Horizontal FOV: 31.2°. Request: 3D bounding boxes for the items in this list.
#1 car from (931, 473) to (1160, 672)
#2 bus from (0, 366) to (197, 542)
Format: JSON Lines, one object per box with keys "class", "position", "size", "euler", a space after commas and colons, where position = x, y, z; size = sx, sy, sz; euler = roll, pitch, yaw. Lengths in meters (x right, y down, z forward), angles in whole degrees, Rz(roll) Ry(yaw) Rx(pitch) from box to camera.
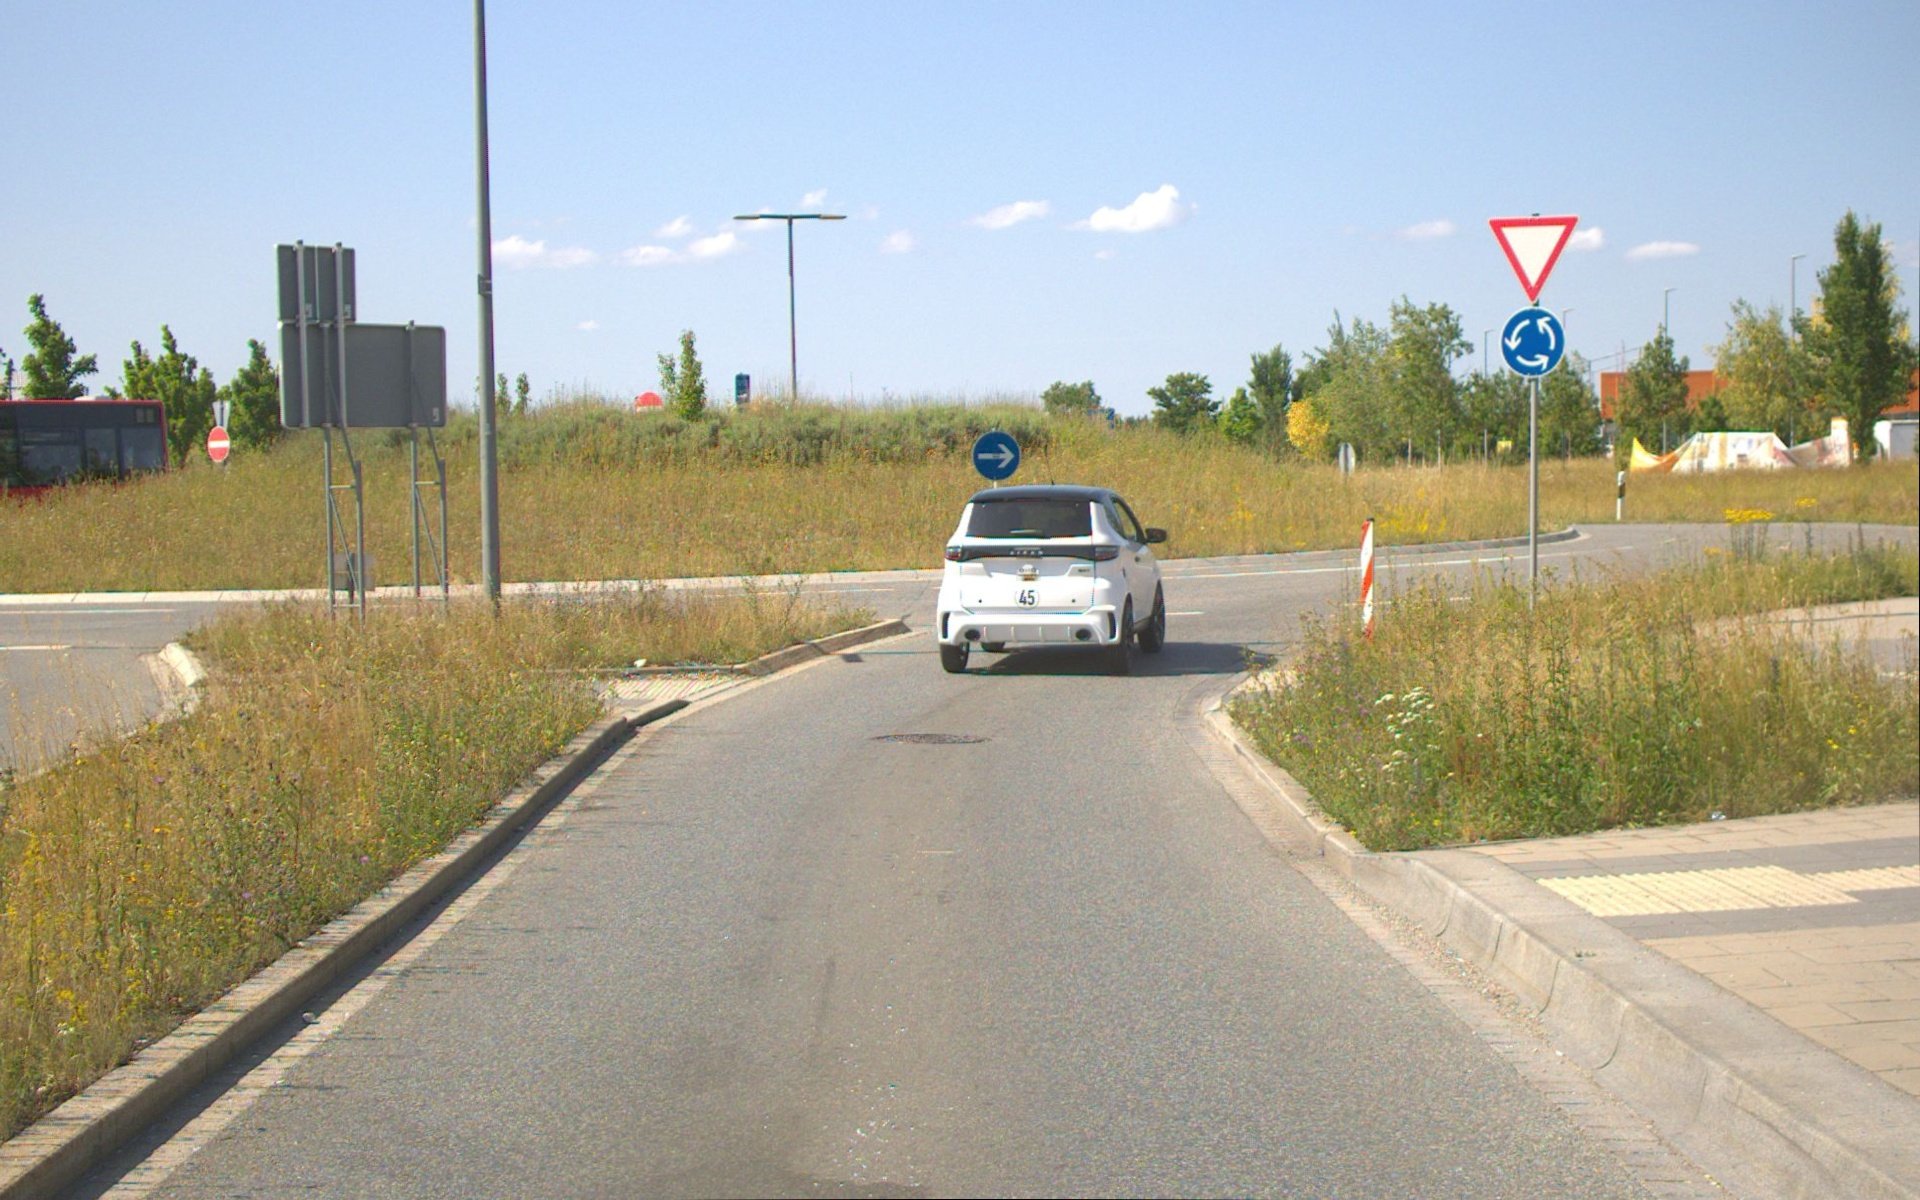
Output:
{"class": "car", "position": [0.772, -0.280, 28.585], "size": [1.617, 1.429, 3.792], "euler": [-1, 4, 6]}
{"class": "bus", "position": [-18.522, -2.480, 60.302], "size": [2.791, 3.068, 12.187], "euler": [-1, 4, 27]}
